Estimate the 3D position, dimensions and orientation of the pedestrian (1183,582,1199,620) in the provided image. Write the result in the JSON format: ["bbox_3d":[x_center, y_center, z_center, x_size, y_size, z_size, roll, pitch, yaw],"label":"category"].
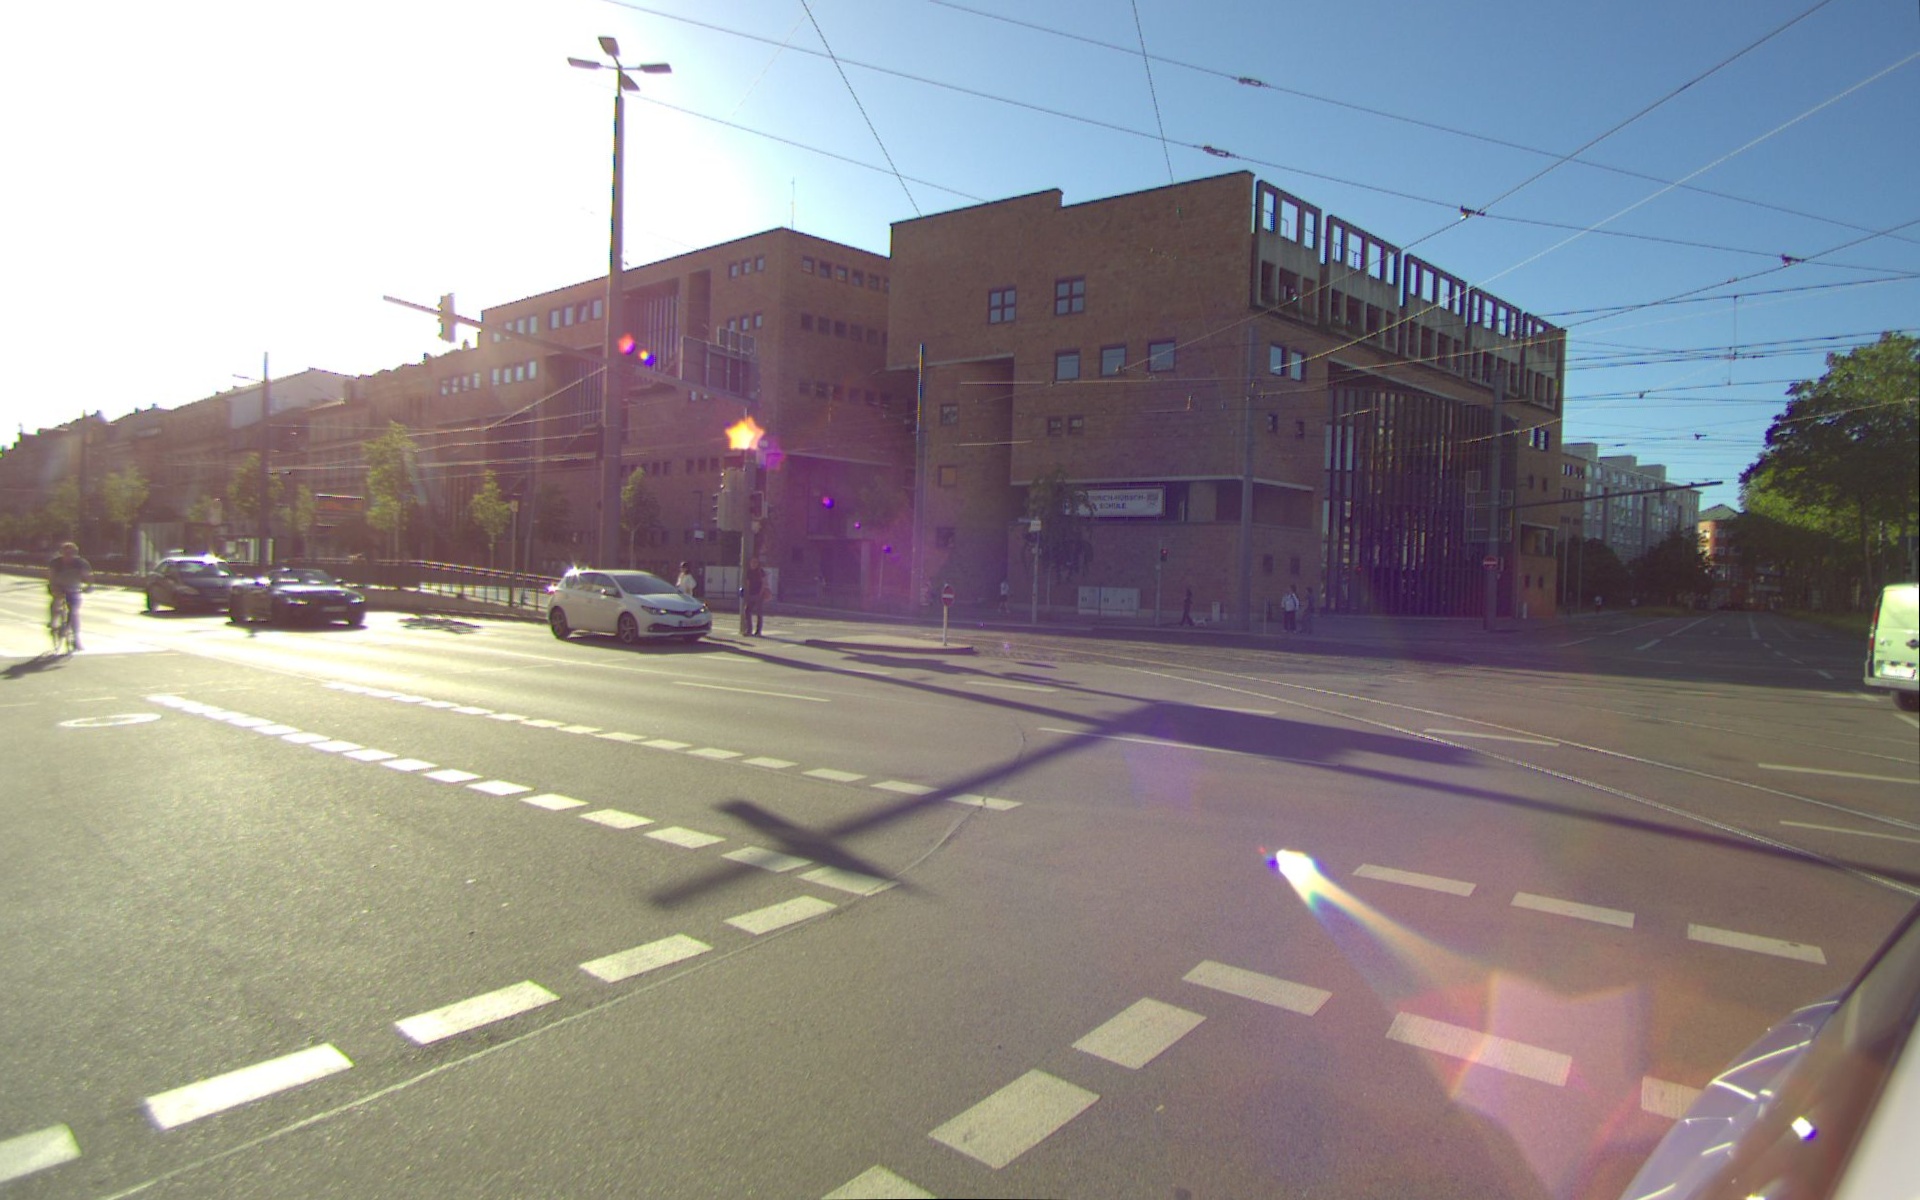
[{"bbox_3d":[9.488,0.034,41.589,0.566,1.495,0.545,2,1,20],"label":"pedestrian"}]

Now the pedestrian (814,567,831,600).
[{"bbox_3d":[-7.759,-0.938,57.014,0.685,1.808,0.633,1,2,40],"label":"pedestrian"}]

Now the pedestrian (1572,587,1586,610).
[{"bbox_3d":[45.319,-0.129,74.115,0.804,1.626,0.681,2,1,25],"label":"pedestrian"}]

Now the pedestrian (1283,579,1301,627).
[{"bbox_3d":[12.627,0.093,38.515,0.544,1.808,0.567,1,1,30],"label":"pedestrian"}]

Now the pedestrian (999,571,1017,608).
[{"bbox_3d":[2.338,-0.516,49.610,0.571,1.808,0.541,5,3,40],"label":"pedestrian"}]

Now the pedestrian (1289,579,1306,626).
[{"bbox_3d":[13.167,0.077,39.482,0.544,1.808,0.567,1,1,30],"label":"pedestrian"}]

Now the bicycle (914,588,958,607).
[{"bbox_3d":[-1.214,-0.151,51.081,2.334,0.915,0.641,2,1,39],"label":"bicycle"}]

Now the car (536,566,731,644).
[{"bbox_3d":[-6.992,0.030,21.513,4.273,1.466,1.822,2,3,37],"label":"car"}]

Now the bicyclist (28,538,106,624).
[{"bbox_3d":[-15.051,-0.326,17.059,0.920,1.394,0.802,2,2,36],"label":"bicyclist"}]

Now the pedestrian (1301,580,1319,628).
[{"bbox_3d":[13.224,0.140,38.245,0.544,1.808,0.567,1,1,30],"label":"pedestrian"}]

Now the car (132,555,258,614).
[{"bbox_3d":[-22.557,-0.505,29.814,4.204,1.632,1.822,2,3,36],"label":"car"}]

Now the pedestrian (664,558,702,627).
[{"bbox_3d":[-6.471,-0.182,23.642,0.640,1.596,0.577,1,1,24],"label":"pedestrian"}]

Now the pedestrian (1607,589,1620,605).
[{"bbox_3d":[57.013,-0.286,88.310,0.809,1.401,0.677,2,1,40],"label":"pedestrian"}]

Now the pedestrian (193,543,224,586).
[{"bbox_3d":[-34.114,-1.619,45.949,0.730,1.910,0.855,2,1,27],"label":"pedestrian"}]

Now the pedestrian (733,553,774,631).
[{"bbox_3d":[-4.708,-0.198,23.076,0.591,1.748,0.713,1,1,39],"label":"pedestrian"}]

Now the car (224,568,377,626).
[{"bbox_3d":[-16.435,-0.127,25.158,4.204,1.284,1.822,2,3,36],"label":"car"}]

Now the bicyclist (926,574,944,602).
[{"bbox_3d":[-1.277,-0.607,51.138,0.649,1.356,0.639,1,1,39],"label":"bicyclist"}]

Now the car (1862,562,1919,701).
[{"bbox_3d":[14.887,0.424,13.491,4.028,1.858,1.846,0,2,-1],"label":"car"}]

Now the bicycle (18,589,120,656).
[{"bbox_3d":[-15.040,0.340,17.061,2.494,1.003,0.802,2,2,37],"label":"bicycle"}]

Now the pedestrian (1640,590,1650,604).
[{"bbox_3d":[70.223,-0.355,103.744,0.809,1.401,0.677,2,1,40],"label":"pedestrian"}]
